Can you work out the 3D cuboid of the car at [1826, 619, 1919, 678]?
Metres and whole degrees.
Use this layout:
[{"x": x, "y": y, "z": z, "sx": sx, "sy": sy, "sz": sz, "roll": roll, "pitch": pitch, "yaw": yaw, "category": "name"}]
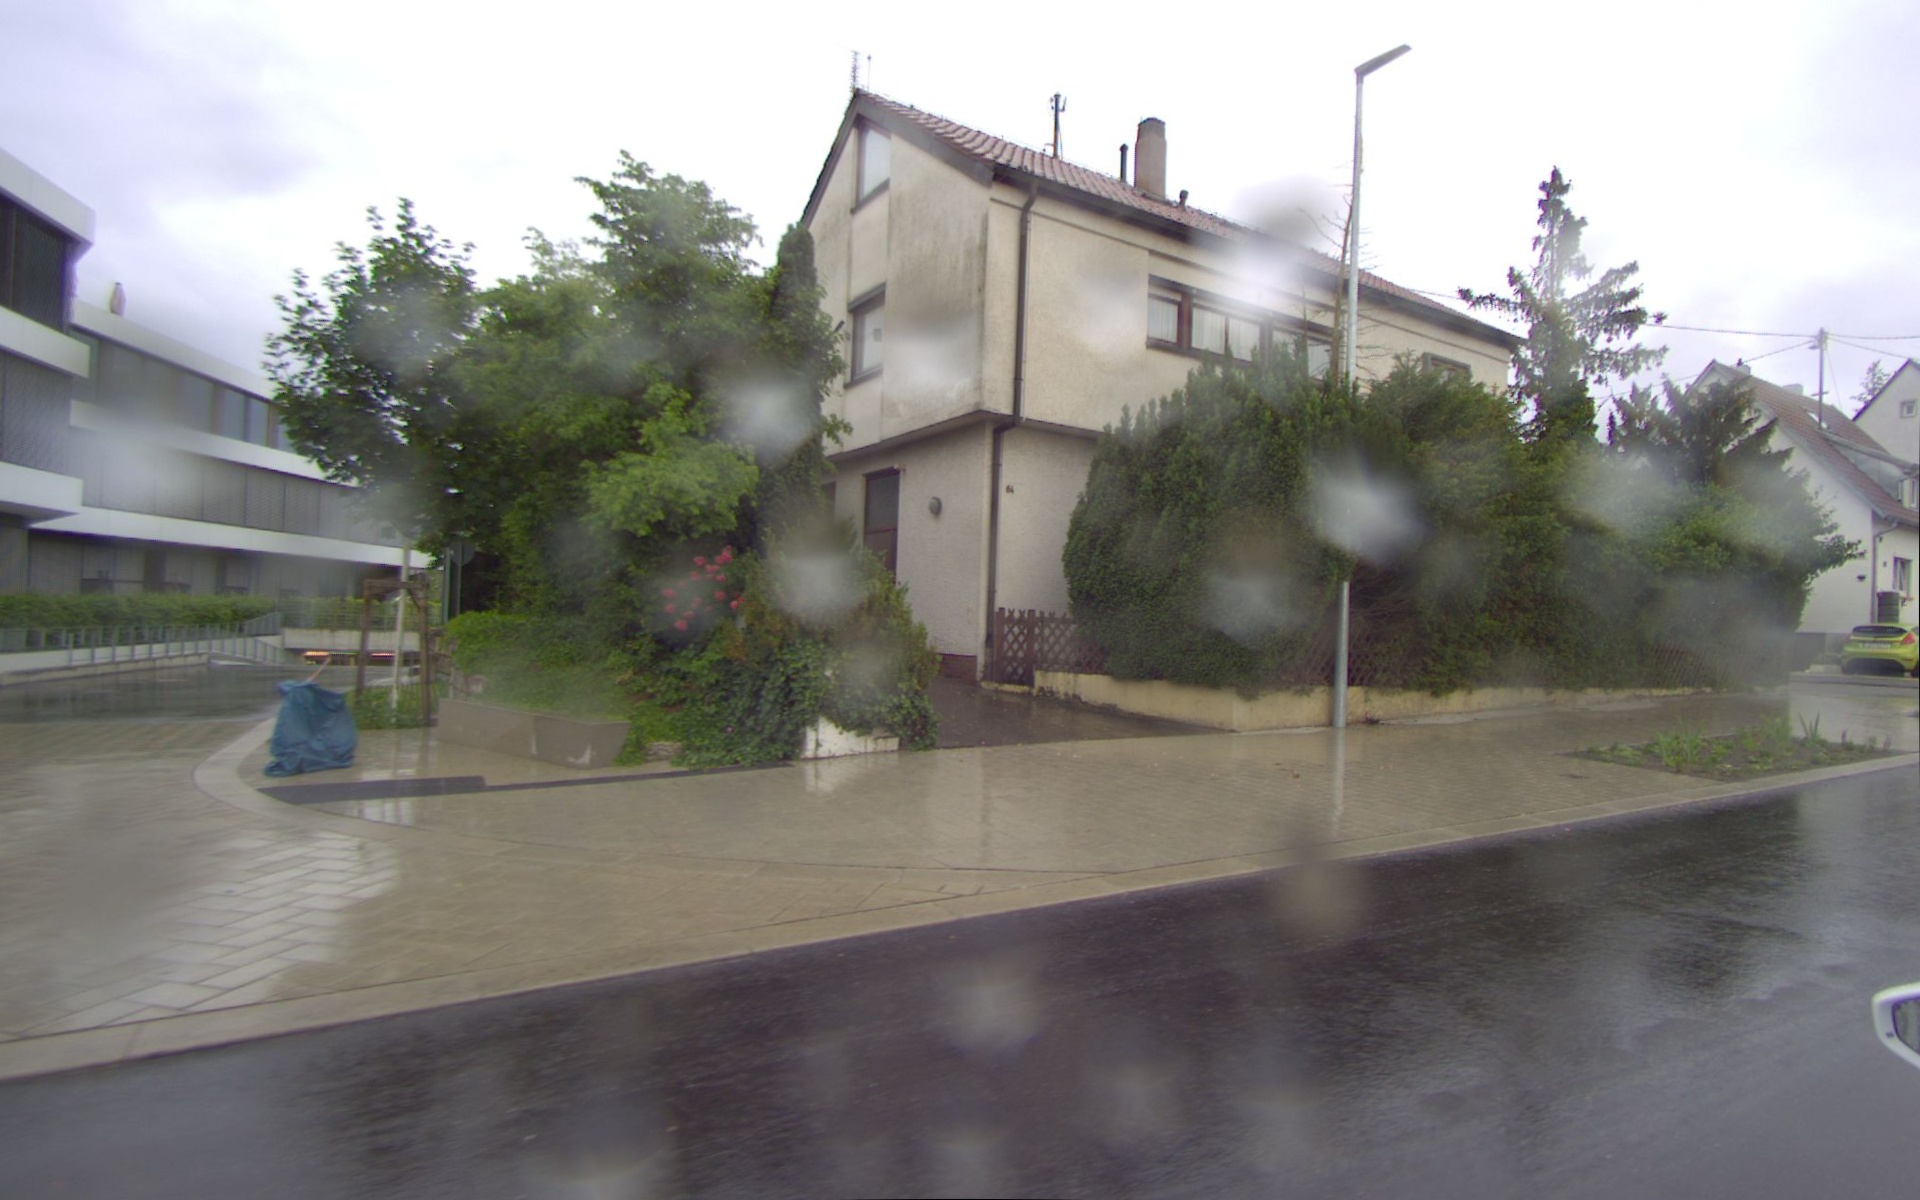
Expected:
[{"x": 25.815, "y": 1.370, "z": 27.780, "sx": 3.416, "sy": 1.486, "sz": 1.771, "roll": 3, "pitch": -1, "yaw": -30, "category": "car"}]
